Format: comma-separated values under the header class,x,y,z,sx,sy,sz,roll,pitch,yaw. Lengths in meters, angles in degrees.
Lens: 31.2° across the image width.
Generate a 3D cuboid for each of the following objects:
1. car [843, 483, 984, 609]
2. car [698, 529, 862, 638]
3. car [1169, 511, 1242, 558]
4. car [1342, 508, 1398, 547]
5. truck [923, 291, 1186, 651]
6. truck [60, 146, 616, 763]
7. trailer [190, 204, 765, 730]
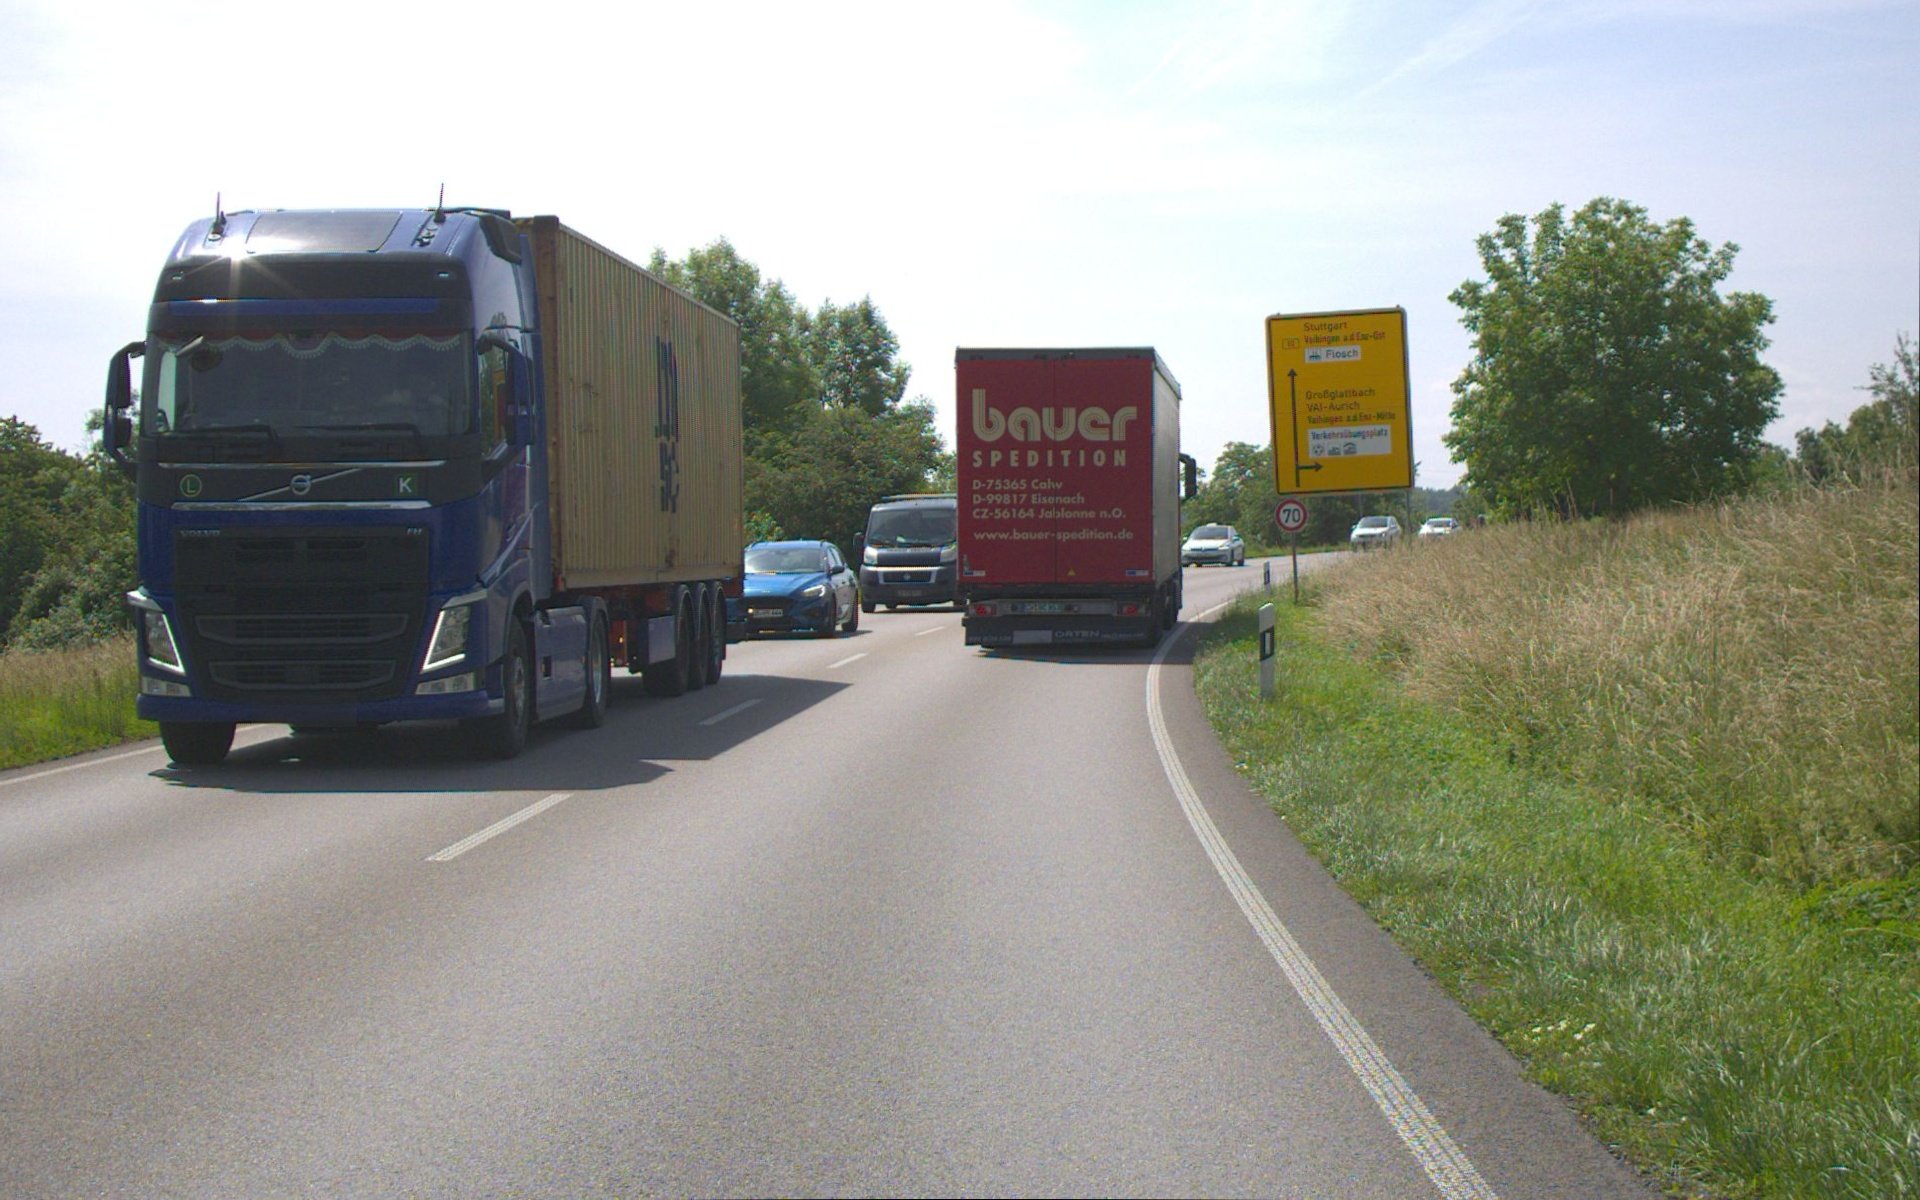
class,x,y,z,sx,sy,sz,roll,pitch,yaw
car,-0.874,-1.098,68.574,2.171,2.295,4.906,-4,1,5
car,-2.742,-0.284,53.264,1.863,1.480,4.358,-4,1,5
car,8.757,-2.347,122.420,1.791,1.517,4.158,-3,1,15
car,18.909,-3.362,158.416,1.834,1.611,4.359,-3,1,16
truck,1.587,-1.721,49.425,3.113,4.490,12.166,1,1,4
truck,-4.438,-1.021,25.846,2.807,4.053,5.985,-1,1,2
trailer,-4.137,-1.181,33.308,2.997,4.029,12.916,-1,1,3
